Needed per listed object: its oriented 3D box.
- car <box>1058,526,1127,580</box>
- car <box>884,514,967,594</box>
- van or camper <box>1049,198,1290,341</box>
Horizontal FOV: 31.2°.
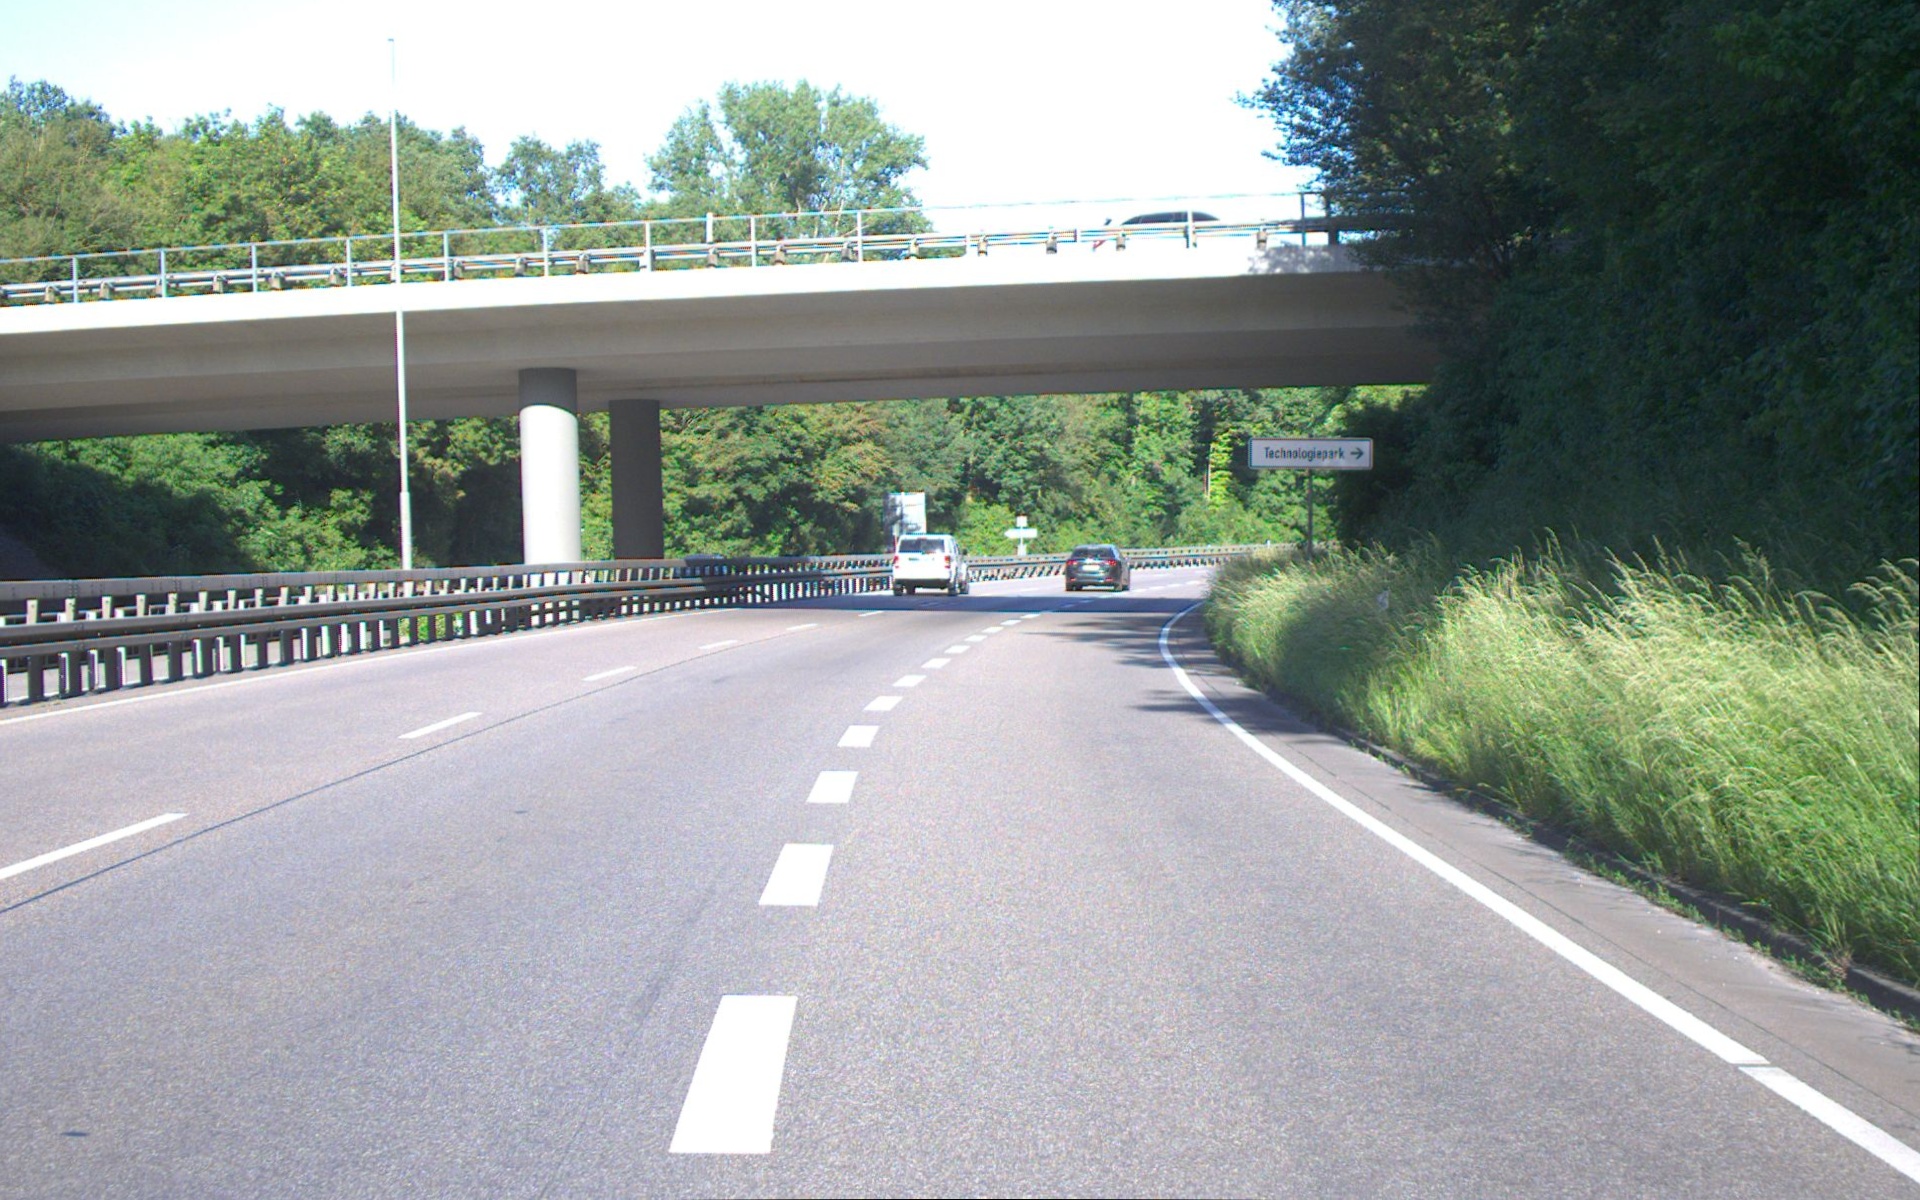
[{"bbox_3d":[4.239,-1.494,109.494,1.740,1.656,3.944,-1,1,9],"label":"car"},{"bbox_3d":[-0.980,-1.352,100.304,1.994,2.269,3.999,-1,1,5],"label":"car"},{"bbox_3d":[4.247,-6.656,69.474,4.610,2.630,1.999,0,0,13],"label":"van or camper"}]
